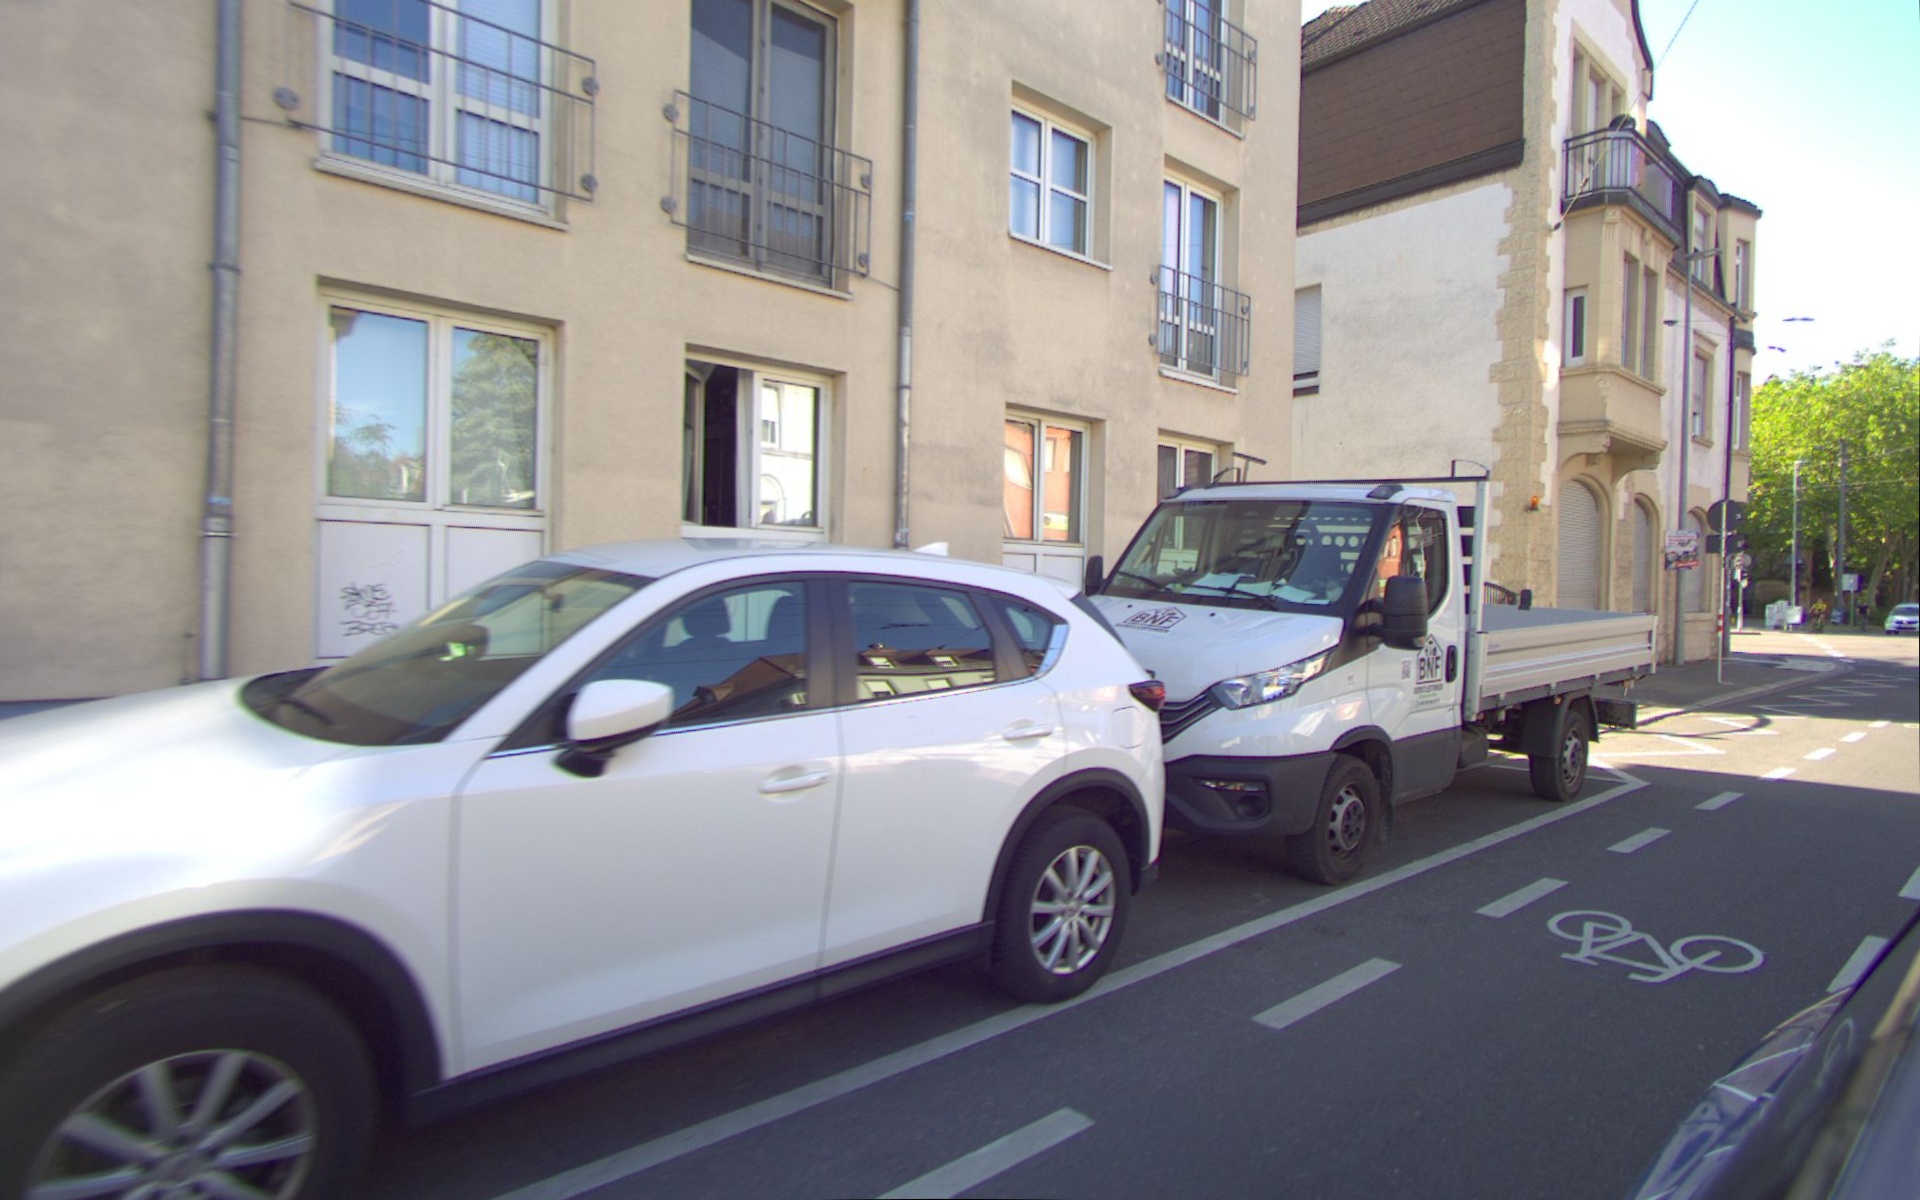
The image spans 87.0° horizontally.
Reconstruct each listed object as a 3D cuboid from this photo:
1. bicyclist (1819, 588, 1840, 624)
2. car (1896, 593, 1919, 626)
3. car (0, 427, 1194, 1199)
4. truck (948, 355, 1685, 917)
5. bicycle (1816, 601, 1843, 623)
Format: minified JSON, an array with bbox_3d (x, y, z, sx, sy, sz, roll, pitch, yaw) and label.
[{"bbox_3d":[43.338,0.301,50.464,0.611,1.751,0.669,4,-1,-41],"label":"bicyclist"},{"bbox_3d":[49.434,0.505,51.683,4.491,1.639,1.910,1,0,-41],"label":"car"},{"bbox_3d":[-1.202,0.573,3.414,4.180,1.769,1.742,0,0,-40],"label":"car"},{"bbox_3d":[2.979,0.133,7.359,6.037,2.508,2.300,0,1,-40],"label":"truck"},{"bbox_3d":[43.461,0.606,50.580,2.062,1.047,0.690,3,0,-41],"label":"bicycle"}]
